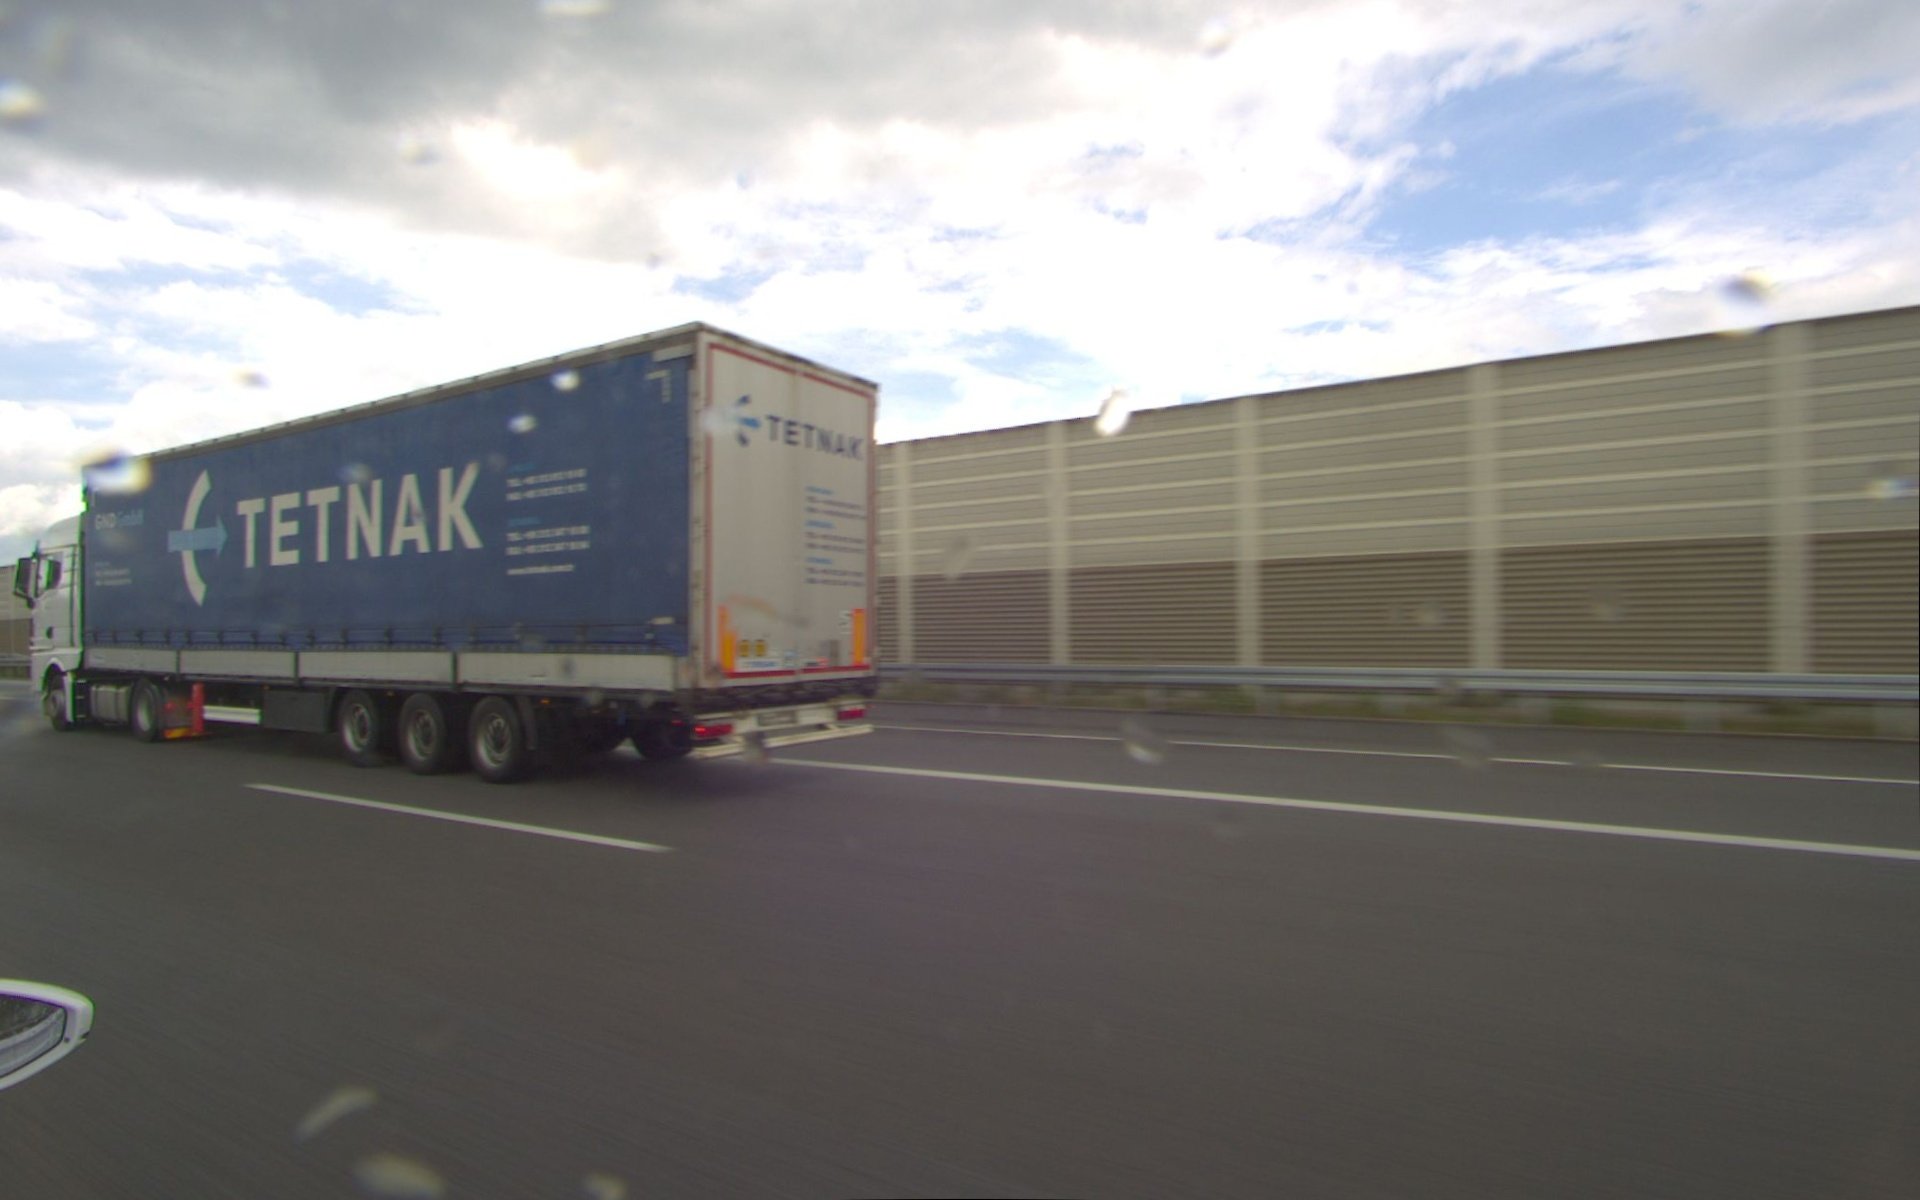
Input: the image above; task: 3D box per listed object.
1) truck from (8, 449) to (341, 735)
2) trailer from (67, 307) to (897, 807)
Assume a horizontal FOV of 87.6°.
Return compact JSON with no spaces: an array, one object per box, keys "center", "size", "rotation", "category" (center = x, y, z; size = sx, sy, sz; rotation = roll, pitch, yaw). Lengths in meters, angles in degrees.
[{"center":[-13.421,-0.038,17.035],"size":[5.644,4.087,2.740],"rotation":[-1,-1,32],"category":"truck"},{"center":[-7.401,-0.188,13.183],"size":[14.247,4.084,2.756],"rotation":[-1,-1,33],"category":"trailer"}]
